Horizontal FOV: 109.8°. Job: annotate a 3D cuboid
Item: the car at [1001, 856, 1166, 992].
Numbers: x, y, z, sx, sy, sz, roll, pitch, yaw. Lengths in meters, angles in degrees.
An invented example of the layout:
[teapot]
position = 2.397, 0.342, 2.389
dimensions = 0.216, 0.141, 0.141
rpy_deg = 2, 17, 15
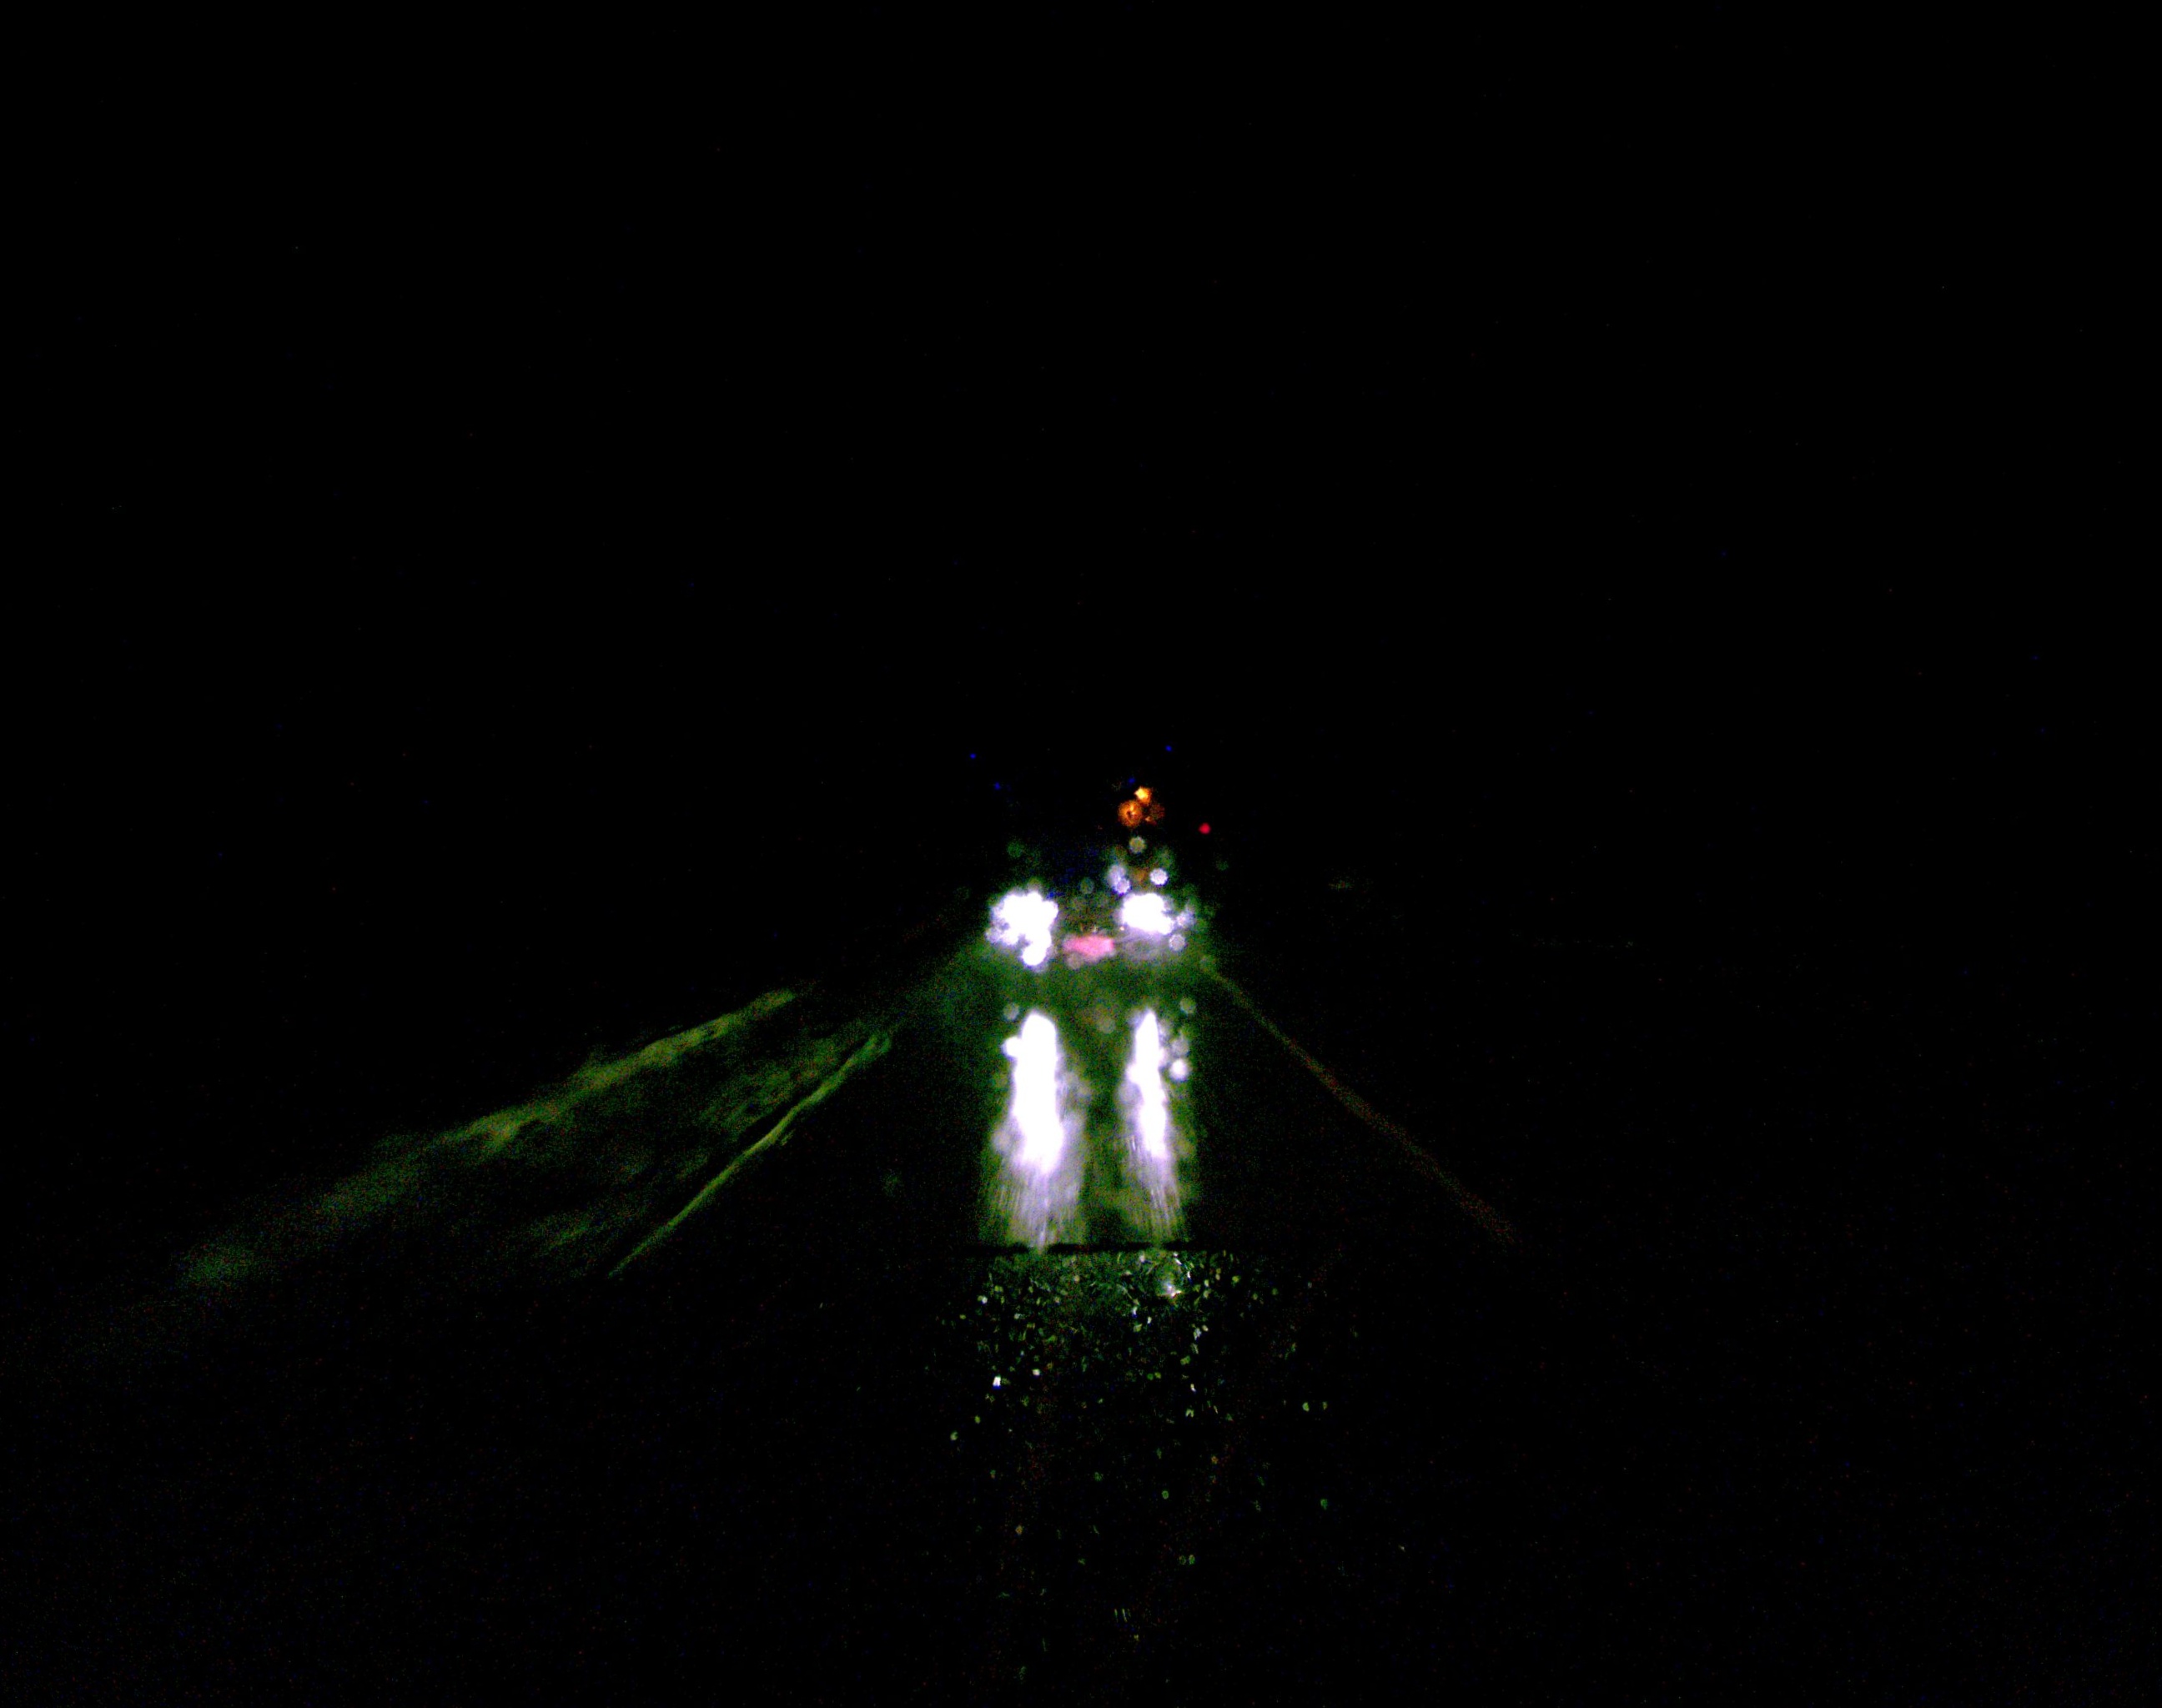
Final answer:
[car]
position = 0.104, 0.850, 11.478
dimensions = 1.944, 1.580, 4.775
rpy_deg = -1, 0, 2

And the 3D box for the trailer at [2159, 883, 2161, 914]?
[trailer]
position = 33.749, 0.783, 21.124
dimensions = 3.801, 2.206, 1.976
rpy_deg = 3, 3, 19
